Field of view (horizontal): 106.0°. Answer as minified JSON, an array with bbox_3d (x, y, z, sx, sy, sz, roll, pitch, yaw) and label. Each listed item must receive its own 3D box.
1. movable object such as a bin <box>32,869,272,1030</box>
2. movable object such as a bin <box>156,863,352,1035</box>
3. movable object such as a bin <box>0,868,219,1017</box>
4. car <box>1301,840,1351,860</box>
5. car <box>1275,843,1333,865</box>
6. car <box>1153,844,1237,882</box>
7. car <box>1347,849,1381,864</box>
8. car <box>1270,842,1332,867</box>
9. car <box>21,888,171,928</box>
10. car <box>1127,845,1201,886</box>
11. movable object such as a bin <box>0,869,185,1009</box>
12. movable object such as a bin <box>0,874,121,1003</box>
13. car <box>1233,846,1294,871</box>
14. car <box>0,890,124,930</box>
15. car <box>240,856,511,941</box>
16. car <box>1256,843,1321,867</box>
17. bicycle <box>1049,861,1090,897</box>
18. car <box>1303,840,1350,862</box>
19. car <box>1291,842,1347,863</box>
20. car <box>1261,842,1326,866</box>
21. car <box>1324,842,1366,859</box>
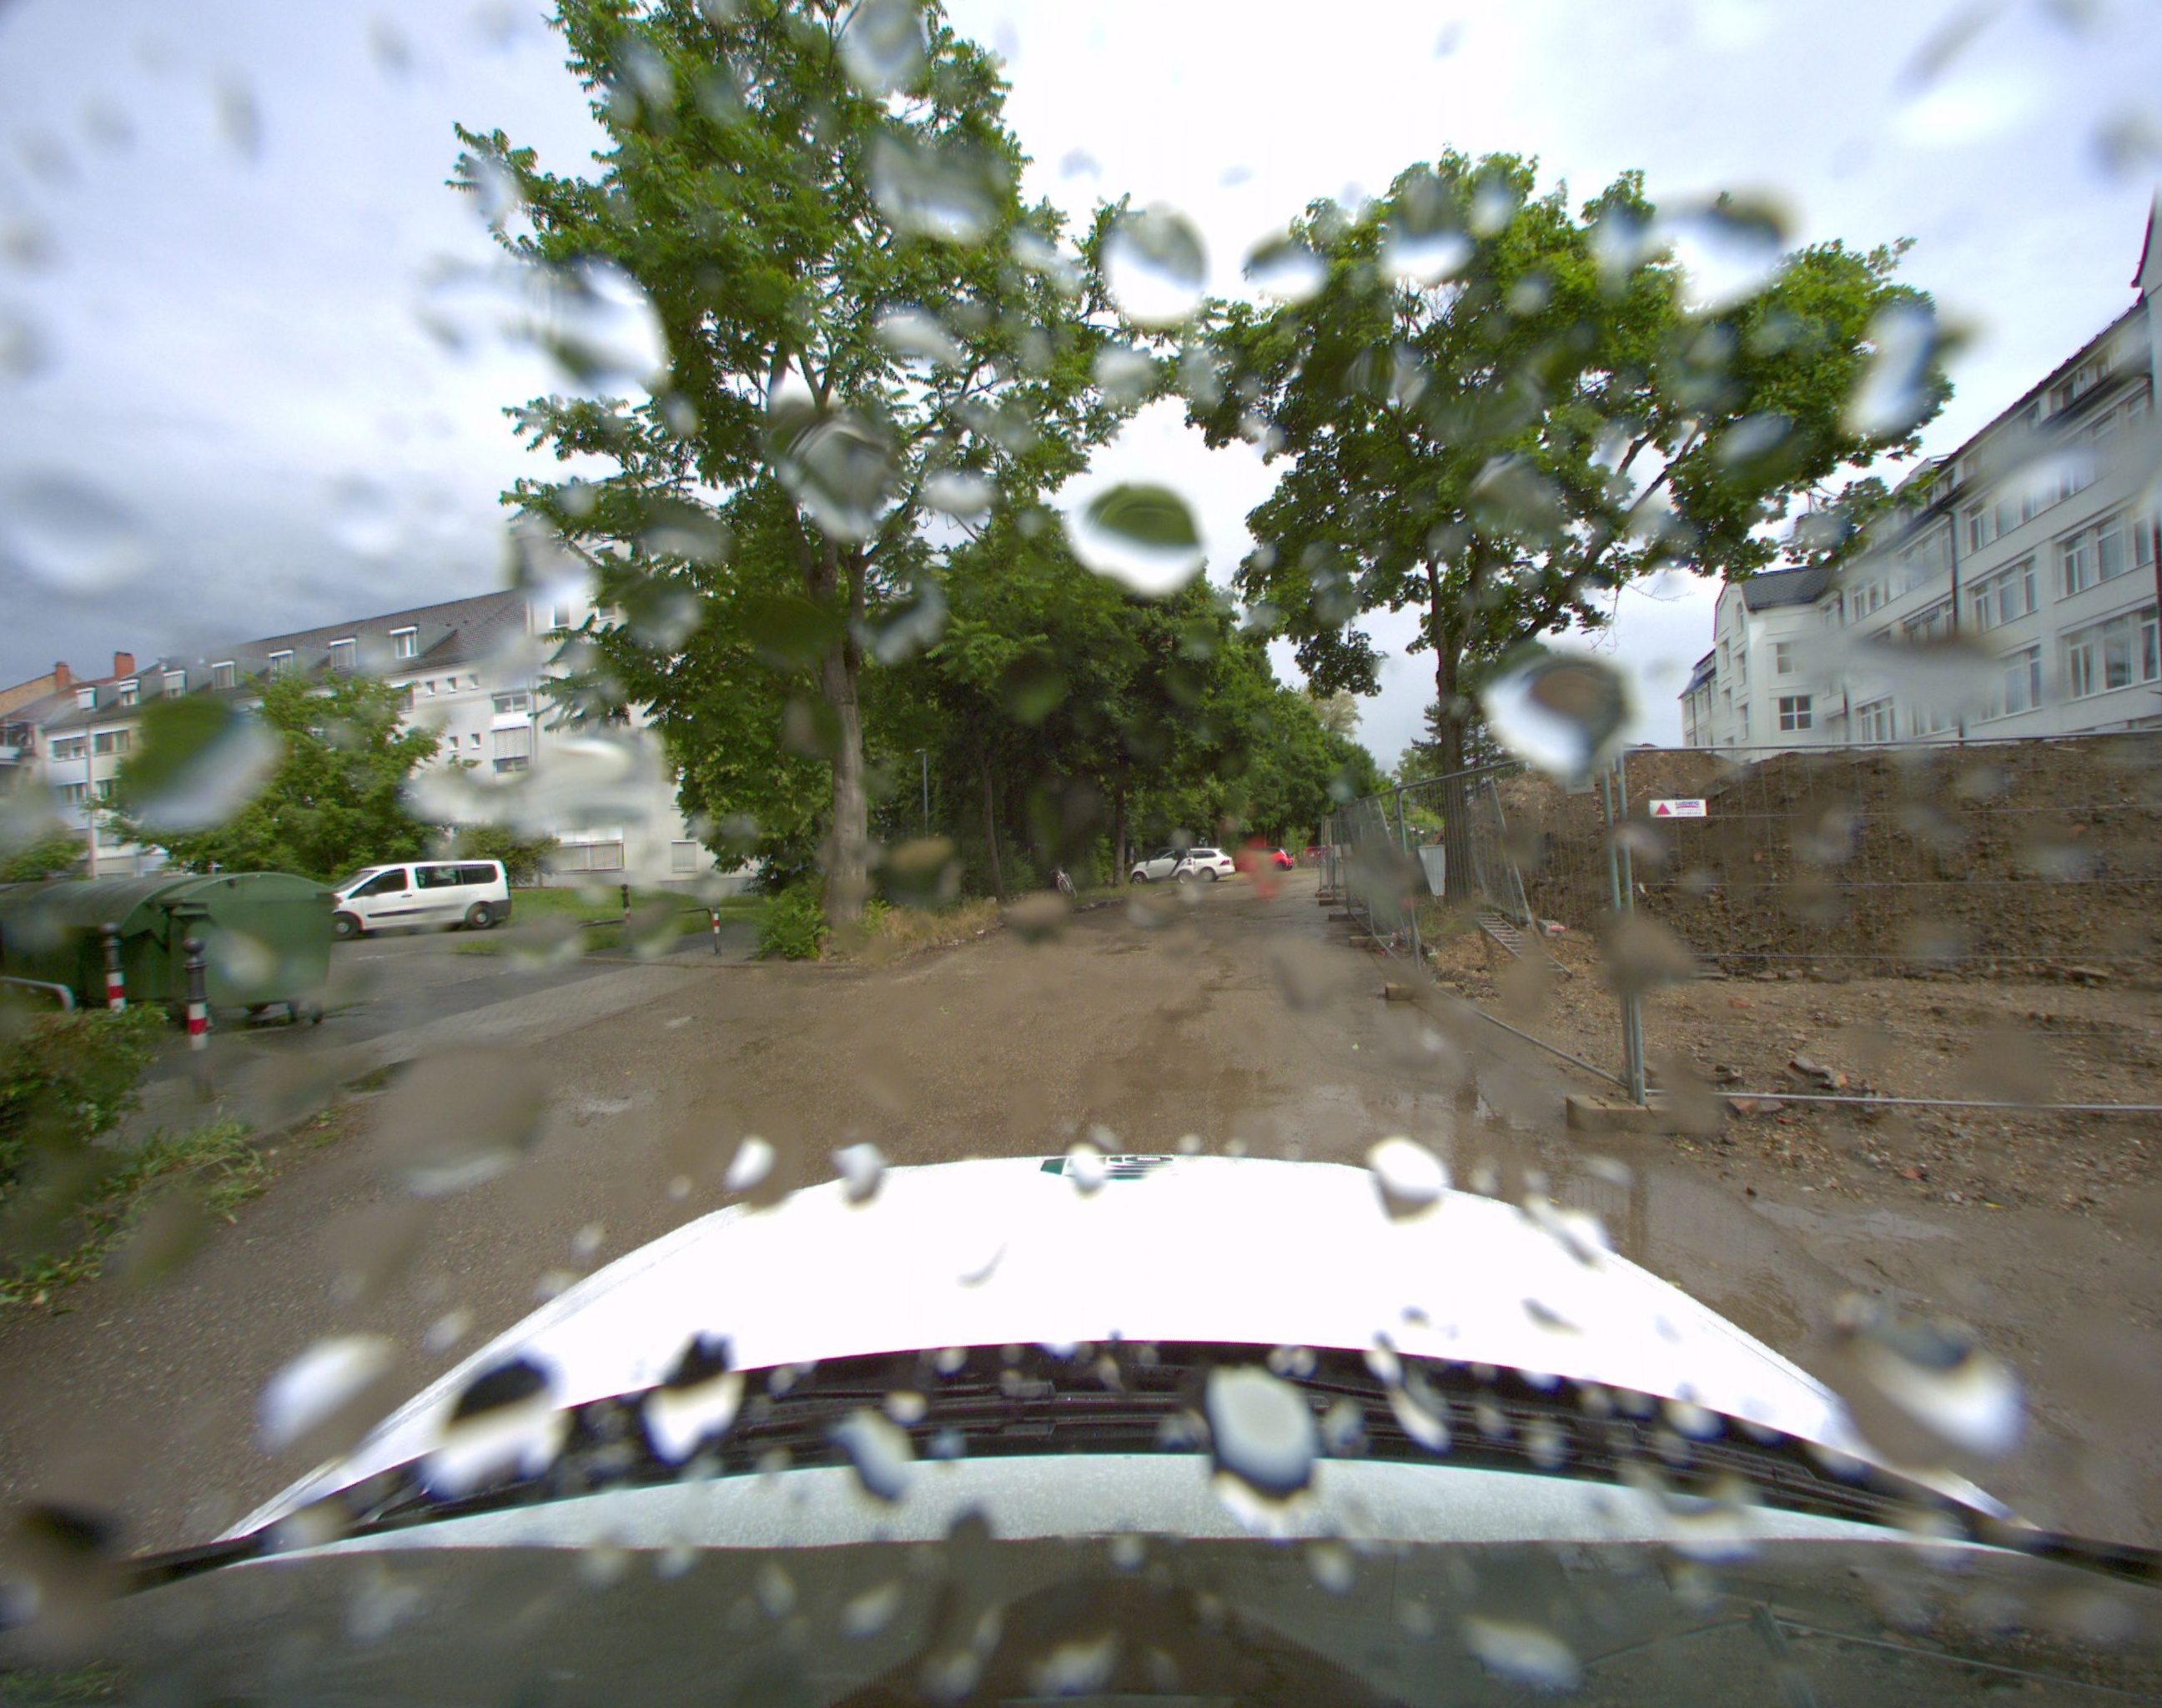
[{"bbox_3d":[-9.503,0.906,8.369,1.387,1.483,1.174,-1,0,19],"label":"movable object such as a bin"},{"bbox_3d":[-8.032,0.852,7.910,1.466,1.473,1.112,-3,-1,36],"label":"movable object such as a bin"},{"bbox_3d":[-10.753,0.920,9.028,1.386,1.483,1.174,-2,0,21],"label":"movable object such as a bin"},{"bbox_3d":[20.519,-0.330,68.118,3.823,1.573,1.969,-1,1,21],"label":"car"},{"bbox_3d":[16.447,0.030,59.959,3.908,1.516,1.816,-1,1,21],"label":"car"},{"bbox_3d":[4.965,0.367,35.340,3.408,1.468,1.747,-2,1,13],"label":"car"},{"bbox_3d":[33.471,0.279,96.275,3.719,1.639,1.681,-1,1,22],"label":"car"},{"bbox_3d":[15.646,0.016,57.905,4.073,1.650,1.856,-1,1,20],"label":"car"},{"bbox_3d":[-45.623,2.480,37.848,1.752,1.458,4.021,-3,1,20],"label":"car"},{"bbox_3d":[3.418,0.458,33.362,2.734,1.484,1.599,-2,1,13],"label":"car"},{"bbox_3d":[-12.022,0.976,9.766,1.479,1.483,1.174,-3,1,20],"label":"movable object such as a bin"},{"bbox_3d":[-13.483,1.059,10.314,1.576,1.483,1.174,-3,1,20],"label":"movable object such as a bin"},{"bbox_3d":[11.046,0.271,49.278,3.252,1.425,1.602,-1,2,28],"label":"car"},{"bbox_3d":[-48.890,2.634,38.711,1.799,1.513,3.941,-3,1,18],"label":"car"},{"bbox_3d":[-18.299,1.079,21.443,2.073,1.926,4.919,-3,-1,28],"label":"car"},{"bbox_3d":[13.568,0.070,53.253,3.758,1.529,1.921,-1,2,26],"label":"car"},{"bbox_3d":[-0.290,0.654,21.890,0.471,0.860,1.464,-1,2,26],"label":"bicycle"},{"bbox_3d":[19.874,-0.241,65.878,3.558,1.620,1.879,-1,1,18],"label":"car"},{"bbox_3d":[18.517,-0.107,63.255,3.952,1.560,1.774,-1,1,22],"label":"car"},{"bbox_3d":[14.429,-0.012,55.313,3.950,1.496,2.005,-1,2,25],"label":"car"},{"bbox_3d":[25.952,-0.378,80.004,3.823,1.573,1.969,-1,1,21],"label":"car"}]
